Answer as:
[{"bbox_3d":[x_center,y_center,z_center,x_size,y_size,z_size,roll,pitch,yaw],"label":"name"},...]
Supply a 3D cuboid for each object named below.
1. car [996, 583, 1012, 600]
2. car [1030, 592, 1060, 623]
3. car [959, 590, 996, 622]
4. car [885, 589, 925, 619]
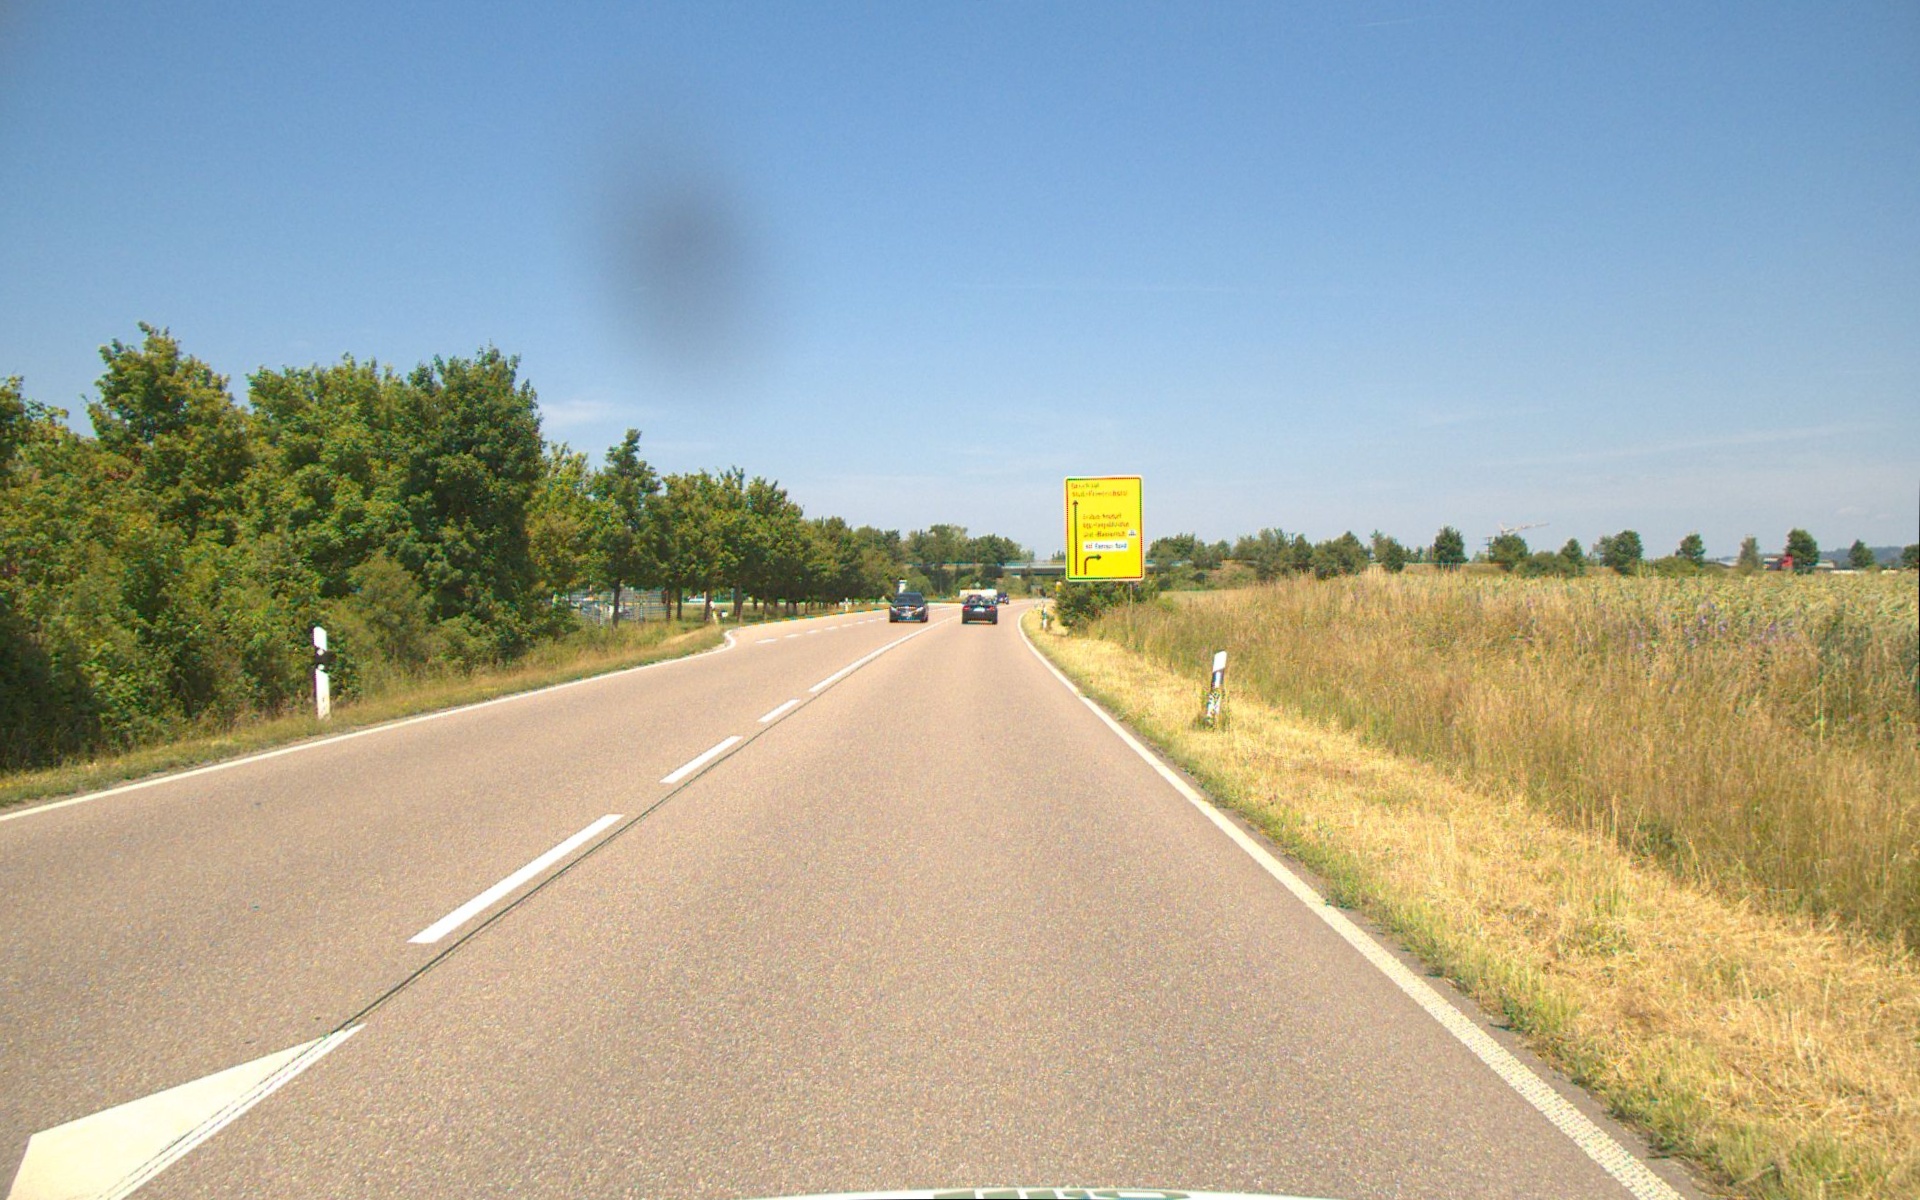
[{"bbox_3d":[5.658,-1.059,210.645,1.952,2.049,4.001,1,-1,2],"label":"car"},{"bbox_3d":[5.837,0.506,114.078,1.712,2.049,3.998,1,-1,-2],"label":"car"},{"bbox_3d":[0.837,0.287,81.425,1.777,1.466,4.000,1,0,0],"label":"car"},{"bbox_3d":[-2.728,0.185,82.886,1.745,1.445,4.534,0,0,1],"label":"car"}]
